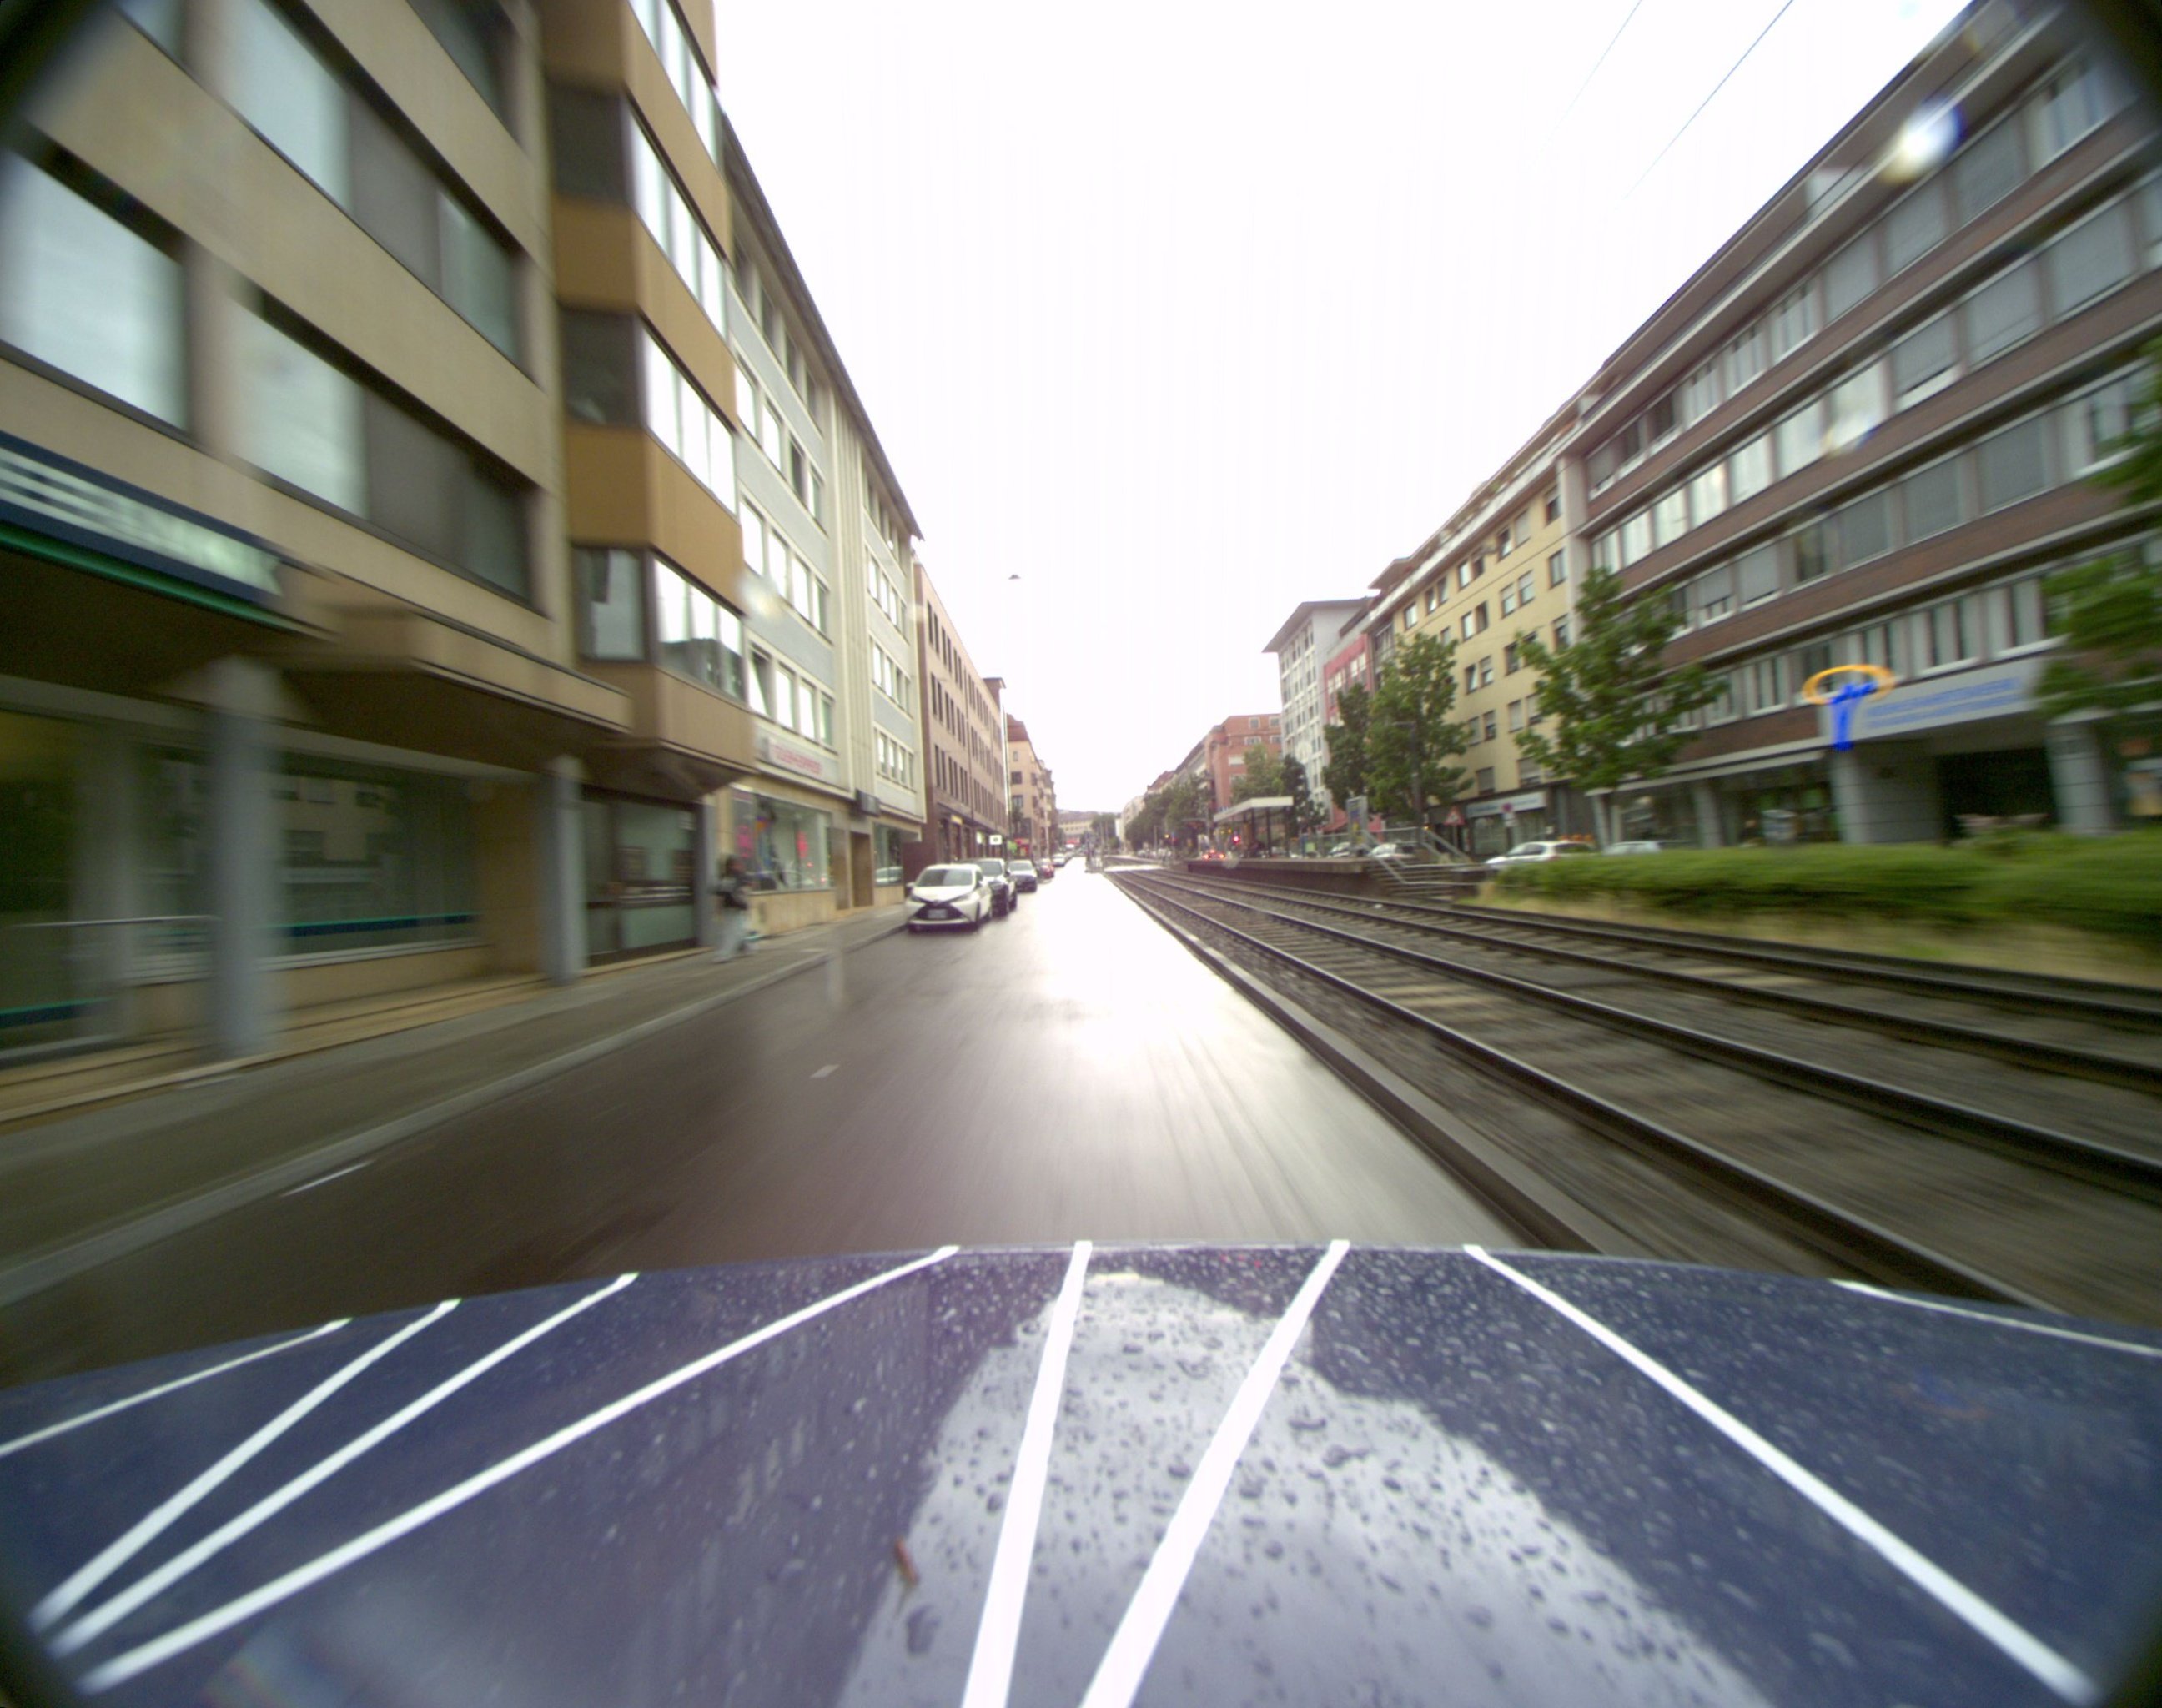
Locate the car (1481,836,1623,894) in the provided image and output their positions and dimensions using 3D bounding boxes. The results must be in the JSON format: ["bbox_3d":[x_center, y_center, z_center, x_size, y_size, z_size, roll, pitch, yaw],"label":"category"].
[{"bbox_3d":[14.974,0.316,24.448,1.999,1.652,3.999,-2,0,-1],"label":"car"}]

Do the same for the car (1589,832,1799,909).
[{"bbox_3d":[15.163,0.362,19.136,1.999,1.652,3.999,-2,0,-1],"label":"car"}]

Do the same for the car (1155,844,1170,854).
[{"bbox_3d":[14.155,-0.917,131.957,1.999,1.652,3.999,-2,0,-1],"label":"car"}]

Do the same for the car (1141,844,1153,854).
[{"bbox_3d":[13.512,-1.023,155.679,1.999,1.779,4.163,-2,0,-1],"label":"car"}]

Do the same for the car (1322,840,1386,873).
[{"bbox_3d":[14.906,0.128,41.757,1.999,1.652,3.999,-2,0,-1],"label":"car"}]

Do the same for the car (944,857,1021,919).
[{"bbox_3d":[-2.837,0.923,22.628,1.653,1.583,4.067,-2,0,1],"label":"car"}]

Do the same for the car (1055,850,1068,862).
[{"bbox_3d":[-2.725,0.246,108.499,1.653,1.583,4.067,-2,0,1],"label":"car"}]

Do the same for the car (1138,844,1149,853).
[{"bbox_3d":[13.607,-1.185,166.514,1.999,1.779,3.999,-2,0,-1],"label":"car"}]

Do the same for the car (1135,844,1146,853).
[{"bbox_3d":[13.583,-1.243,172.641,1.999,1.779,3.999,-2,0,-1],"label":"car"}]

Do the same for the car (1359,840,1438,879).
[{"bbox_3d":[15.089,0.245,36.353,1.999,1.652,3.999,-2,0,-1],"label":"car"}]

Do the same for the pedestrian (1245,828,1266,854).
[{"bbox_3d":[9.574,-0.700,41.717,0.958,1.378,0.637,-2,1,-2],"label":"pedestrian"}]

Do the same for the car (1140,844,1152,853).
[{"bbox_3d":[13.776,-1.139,160.917,1.999,1.779,3.999,-2,0,-1],"label":"car"}]

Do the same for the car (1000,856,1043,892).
[{"bbox_3d":[-2.859,0.917,37.018,1.653,1.583,4.067,-2,0,1],"label":"car"}]

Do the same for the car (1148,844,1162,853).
[{"bbox_3d":[13.788,-1.000,141.769,1.999,1.652,3.999,-2,0,-1],"label":"car"}]

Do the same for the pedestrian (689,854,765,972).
[{"bbox_3d":[-5.311,0.859,11.447,0.640,1.690,0.883,-2,1,1],"label":"pedestrian"}]

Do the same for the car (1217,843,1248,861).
[{"bbox_3d":[14.281,-0.187,71.954,1.999,1.652,3.999,-2,0,-1],"label":"car"}]

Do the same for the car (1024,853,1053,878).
[{"bbox_3d":[-2.873,0.752,52.212,1.653,1.583,4.067,-2,0,1],"label":"car"}]

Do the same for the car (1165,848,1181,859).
[{"bbox_3d":[14.601,-0.110,120.505,1.999,1.652,3.999,-2,0,-1],"label":"car"}]

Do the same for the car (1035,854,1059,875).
[{"bbox_3d":[-2.696,0.817,60.500,1.653,1.583,4.067,-2,0,1],"label":"car"}]

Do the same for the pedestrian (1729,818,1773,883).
[{"bbox_3d":[19.654,-0.110,22.295,0.576,1.859,0.743,-2,1,1],"label":"pedestrian"}]

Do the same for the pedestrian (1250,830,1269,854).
[{"bbox_3d":[9.614,-0.629,41.025,0.815,1.248,0.637,-2,1,-2],"label":"pedestrian"}]

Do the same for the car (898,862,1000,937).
[{"bbox_3d":[-3.043,0.994,18.350,1.653,1.489,4.067,-2,0,1],"label":"car"}]

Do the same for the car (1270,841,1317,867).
[{"bbox_3d":[14.679,0.013,52.647,1.999,1.652,3.999,-2,0,-1],"label":"car"}]
